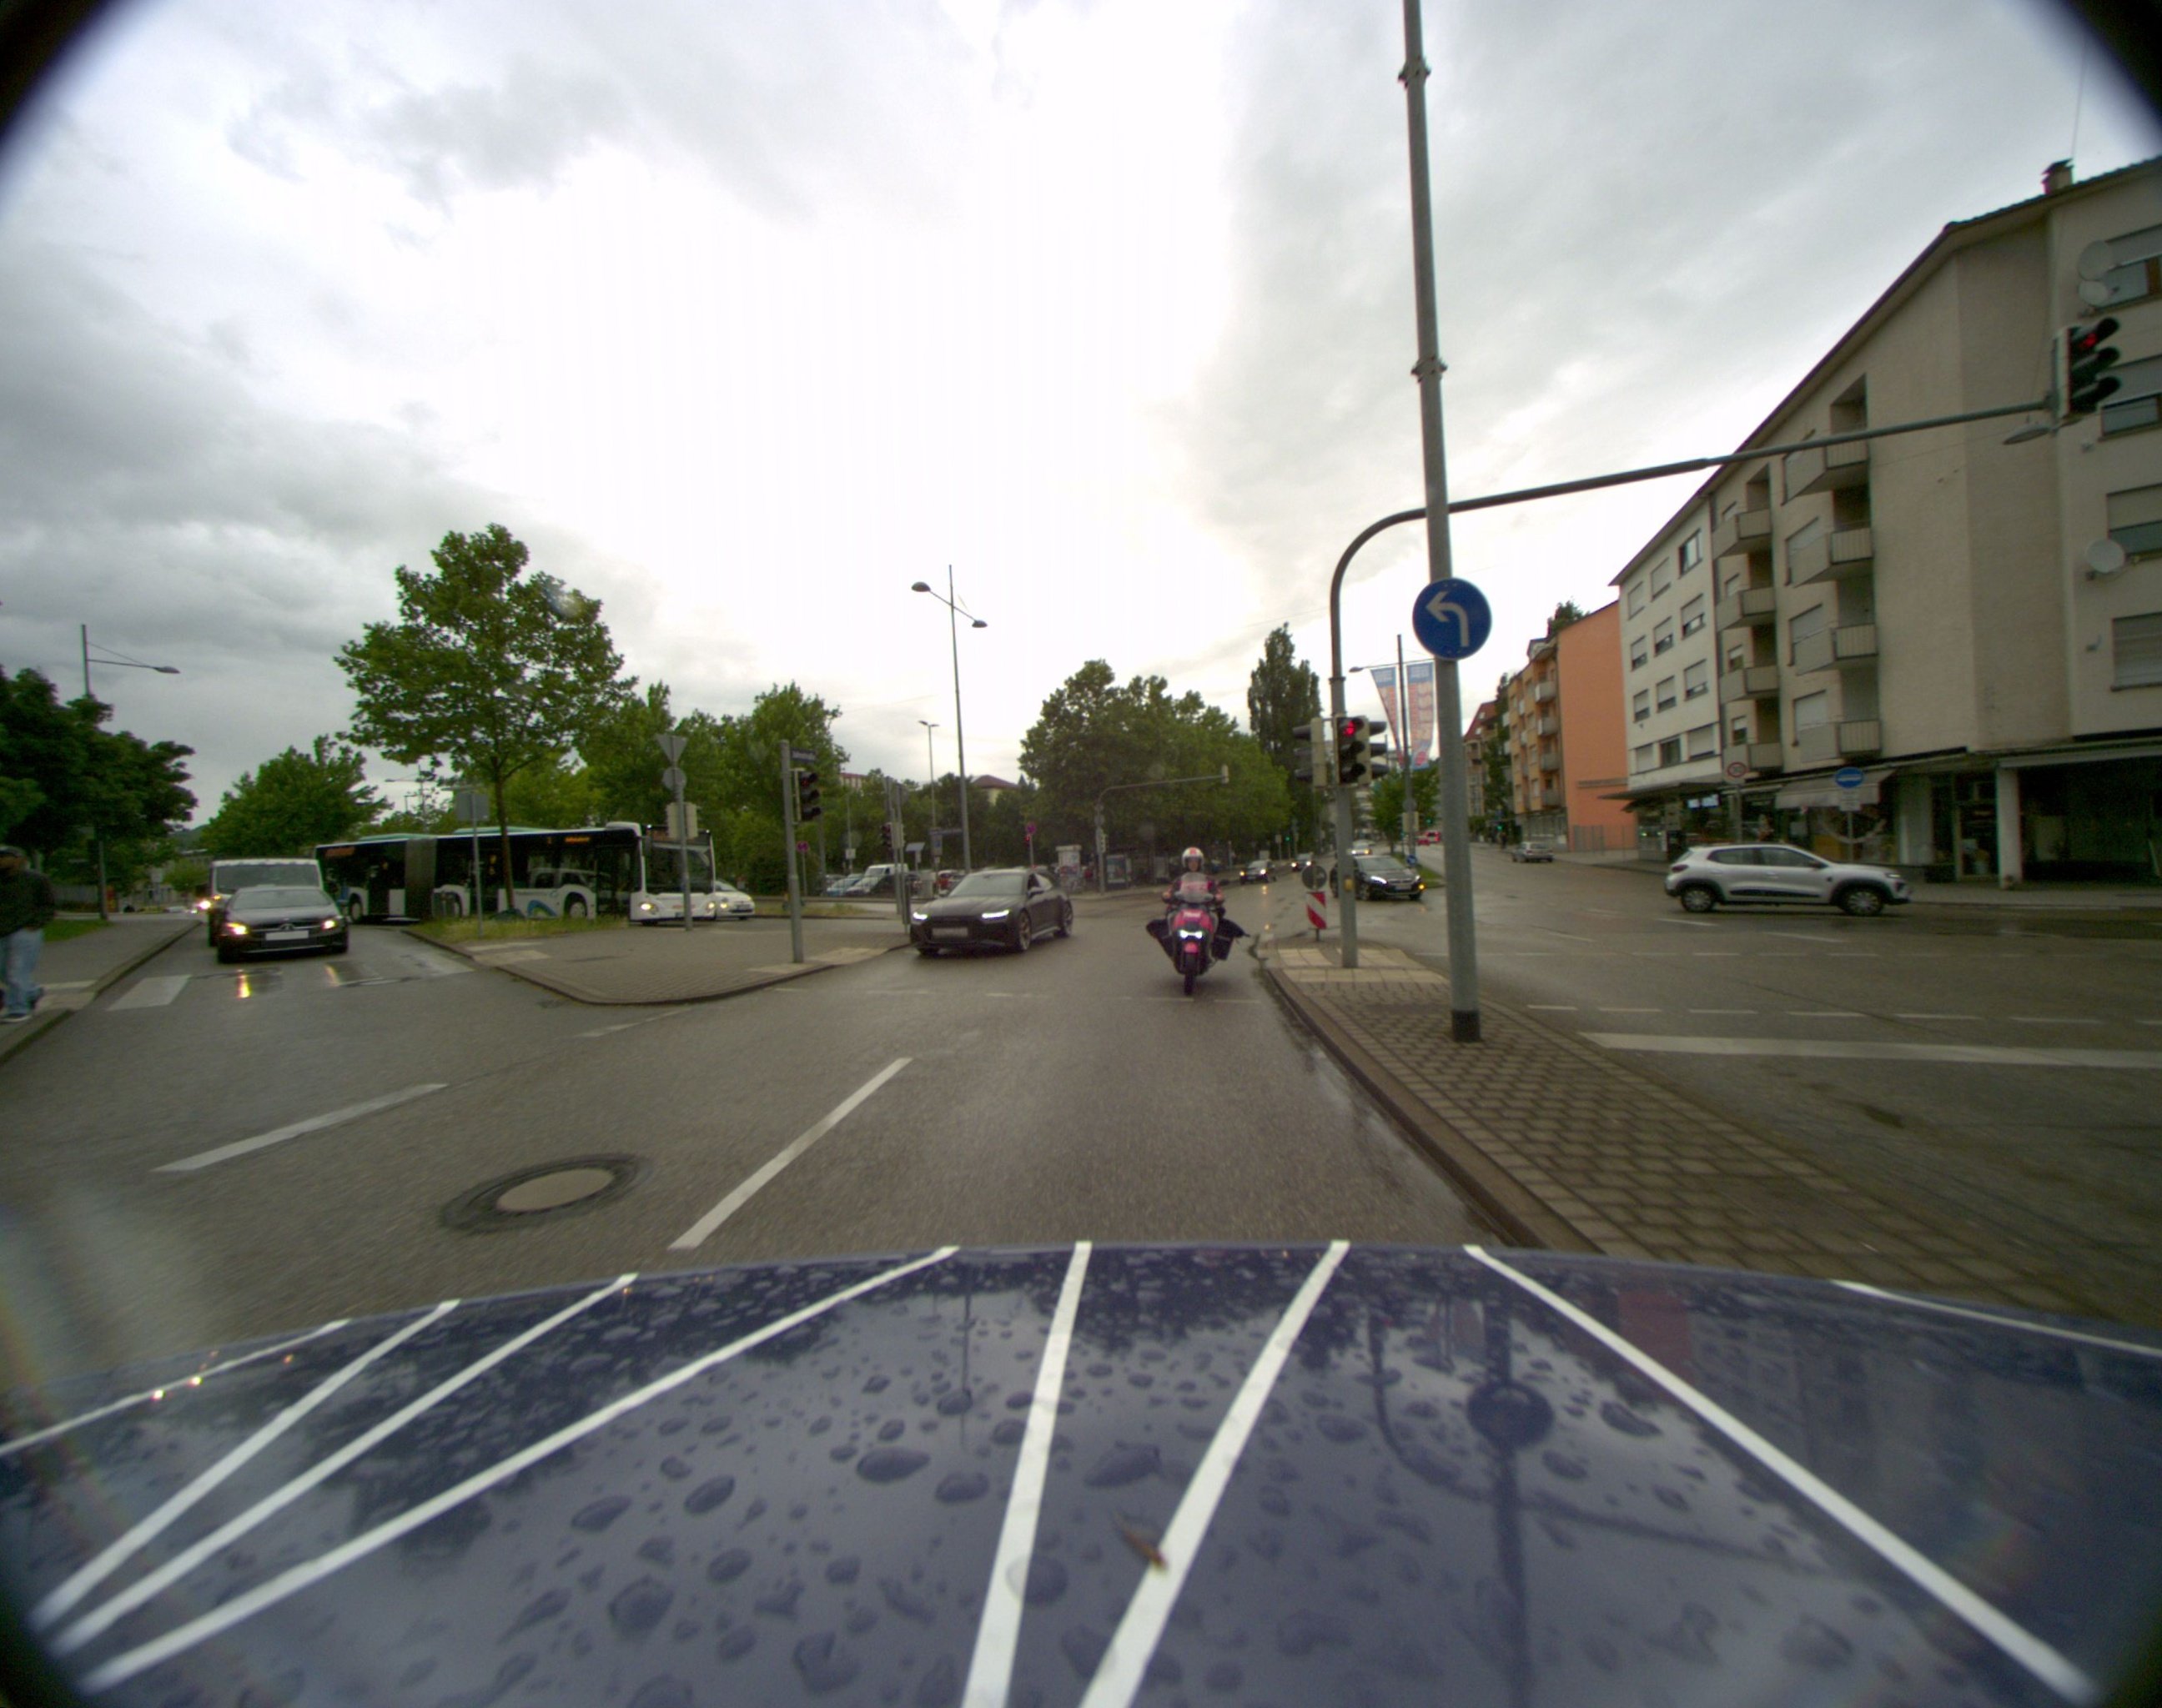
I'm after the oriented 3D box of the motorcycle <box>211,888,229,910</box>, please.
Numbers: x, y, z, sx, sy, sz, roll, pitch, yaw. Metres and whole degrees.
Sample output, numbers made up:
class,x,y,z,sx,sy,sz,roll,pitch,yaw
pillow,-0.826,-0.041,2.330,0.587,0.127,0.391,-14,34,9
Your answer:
class,x,y,z,sx,sy,sz,roll,pitch,yaw
motorcycle,-45.976,2.395,40.567,2.682,1.112,0.572,-2,0,40

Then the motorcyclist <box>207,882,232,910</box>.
class,x,y,z,sx,sy,sz,roll,pitch,yaw
motorcyclist,-45.862,2.230,40.443,1.237,1.429,0.808,-2,0,40

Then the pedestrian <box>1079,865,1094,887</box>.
class,x,y,z,sx,sy,sz,roll,pitch,yaw
pedestrian,0.385,1.661,56.968,0.766,1.623,0.862,-3,0,25

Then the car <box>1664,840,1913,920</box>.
class,x,y,z,sx,sy,sz,roll,pitch,yaw
car,14.561,0.548,15.840,3.620,1.453,1.545,-3,0,43

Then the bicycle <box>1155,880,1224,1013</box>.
class,x,y,z,sx,sy,sz,roll,pitch,yaw
bicycle,1.379,1.022,9.278,0.716,1.298,2.429,-1,1,11

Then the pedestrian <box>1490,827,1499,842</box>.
class,x,y,z,sx,sy,sz,roll,pitch,yaw
pedestrian,49.459,-2.324,90.891,0.765,1.685,0.801,-3,1,19

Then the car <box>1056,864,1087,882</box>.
class,x,y,z,sx,sy,sz,roll,pitch,yaw
car,-0.874,1.704,69.516,1.637,1.414,3.359,-4,1,21

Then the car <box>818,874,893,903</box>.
class,x,y,z,sx,sy,sz,roll,pitch,yaw
car,-12.991,1.954,44.006,1.853,1.432,4.269,-2,0,22

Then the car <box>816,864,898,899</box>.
class,x,y,z,sx,sy,sz,roll,pitch,yaw
car,-11.720,1.419,40.051,1.801,1.603,4.269,-2,0,22

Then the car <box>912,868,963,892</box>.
class,x,y,z,sx,sy,sz,roll,pitch,yaw
car,-10.566,1.906,56.328,1.759,1.581,4.006,-2,-1,22

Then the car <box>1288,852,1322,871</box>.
class,x,y,z,sx,sy,sz,roll,pitch,yaw
car,18.414,0.603,62.343,1.893,1.413,4.368,-1,0,27

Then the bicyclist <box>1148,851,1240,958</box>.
class,x,y,z,sx,sy,sz,roll,pitch,yaw
bicyclist,1.380,0.605,9.185,0.962,1.218,0.716,-3,-2,15

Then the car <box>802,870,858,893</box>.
class,x,y,z,sx,sy,sz,roll,pitch,yaw
car,-19.351,2.114,58.833,1.758,1.557,4.007,-2,-1,26

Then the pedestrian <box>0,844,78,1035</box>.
class,x,y,z,sx,sy,sz,roll,pitch,yaw
pedestrian,-11.646,0.904,8.269,0.589,2.002,0.785,-1,0,-29

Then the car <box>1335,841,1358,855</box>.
class,x,y,z,sx,sy,sz,roll,pitch,yaw
car,29.912,-0.725,85.574,1.893,1.479,4.368,-1,0,27

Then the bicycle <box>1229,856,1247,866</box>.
class,x,y,z,sx,sy,sz,roll,pitch,yaw
bicycle,18.903,0.861,91.468,1.931,1.088,0.650,-4,1,7

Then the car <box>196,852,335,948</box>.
class,x,y,z,sx,sy,sz,roll,pitch,yaw
car,-22.377,1.129,20.845,6.324,2.221,2.260,-1,1,42

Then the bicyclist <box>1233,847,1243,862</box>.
class,x,y,z,sx,sy,sz,roll,pitch,yaw
bicyclist,18.863,0.089,91.434,0.986,1.760,0.797,-3,1,7

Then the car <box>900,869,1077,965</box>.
class,x,y,z,sx,sy,sz,roll,pitch,yaw
car,-1.539,1.090,14.527,1.894,1.396,4.365,-3,0,13

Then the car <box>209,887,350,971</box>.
class,x,y,z,sx,sy,sz,roll,pitch,yaw
car,-16.674,1.449,15.816,4.085,1.366,1.799,-1,1,42

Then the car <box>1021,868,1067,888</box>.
class,x,y,z,sx,sy,sz,roll,pitch,yaw
car,-2.788,1.814,58.207,1.735,1.431,4.451,-2,-1,22

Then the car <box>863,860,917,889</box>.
class,x,y,z,sx,sy,sz,roll,pitch,yaw
car,-16.336,1.746,65.194,1.969,2.306,5.020,-2,-1,19

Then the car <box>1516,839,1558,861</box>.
class,x,y,z,sx,sy,sz,roll,pitch,yaw
car,31.193,-0.288,52.061,1.678,1.384,4.157,-1,1,19

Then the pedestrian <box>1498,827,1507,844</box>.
class,x,y,z,sx,sy,sz,roll,pitch,yaw
pedestrian,48.263,-2.138,86.958,0.745,1.876,0.801,-3,1,19

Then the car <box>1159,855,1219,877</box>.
class,x,y,z,sx,sy,sz,roll,pitch,yaw
car,9.417,1.060,66.390,4.743,1.397,1.865,-6,0,26

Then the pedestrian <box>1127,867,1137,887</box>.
class,x,y,z,sx,sy,sz,roll,pitch,yaw
pedestrian,3.344,1.530,49.939,0.499,1.263,0.402,-3,0,25

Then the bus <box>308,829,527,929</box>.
class,x,y,z,sx,sy,sz,roll,pitch,yaw
bus,-23.719,0.786,27.074,8.538,3.162,2.693,0,0,25

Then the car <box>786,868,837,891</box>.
class,x,y,z,sx,sy,sz,roll,pitch,yaw
car,-23.561,2.196,66.557,1.830,1.819,4.371,-2,-1,21

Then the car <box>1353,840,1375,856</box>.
class,x,y,z,sx,sy,sz,roll,pitch,yaw
car,28.207,-0.592,75.627,1.893,1.567,4.367,-1,0,22

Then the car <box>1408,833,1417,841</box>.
class,x,y,z,sx,sy,sz,roll,pitch,yaw
car,67.766,-3.486,155.300,1.568,1.385,3.839,-1,1,21

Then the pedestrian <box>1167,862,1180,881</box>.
class,x,y,z,sx,sy,sz,roll,pitch,yaw
pedestrian,7.010,1.332,57.481,0.632,1.314,0.627,-4,1,37

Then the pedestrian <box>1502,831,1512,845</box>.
class,x,y,z,sx,sy,sz,roll,pitch,yaw
pedestrian,44.572,-1.699,79.581,0.560,1.432,0.609,-6,-1,3

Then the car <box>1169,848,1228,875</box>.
class,x,y,z,sx,sy,sz,roll,pitch,yaw
car,10.818,0.670,70.024,4.841,1.931,1.953,-6,0,26

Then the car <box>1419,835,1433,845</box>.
class,x,y,z,sx,sy,sz,roll,pitch,yaw
car,54.035,-2.193,119.057,1.605,1.422,3.950,0,2,20

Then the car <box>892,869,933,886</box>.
class,x,y,z,sx,sy,sz,roll,pitch,yaw
car,-13.958,1.937,63.147,1.529,1.229,3.639,-2,-1,22

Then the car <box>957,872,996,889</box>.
class,x,y,z,sx,sy,sz,roll,pitch,yaw
car,-8.296,2.121,60.499,1.529,1.229,3.361,-2,-1,22

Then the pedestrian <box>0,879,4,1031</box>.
class,x,y,z,sx,sy,sz,roll,pitch,yaw
pedestrian,-12.283,1.128,8.185,0.558,1.696,0.528,-1,0,-15

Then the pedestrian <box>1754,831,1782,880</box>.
class,x,y,z,sx,sy,sz,roll,pitch,yaw
pedestrian,24.760,0.039,27.399,0.452,1.720,0.525,-7,-1,25

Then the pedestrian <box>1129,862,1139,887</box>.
class,x,y,z,sx,sy,sz,roll,pitch,yaw
pedestrian,3.543,1.373,50.739,0.540,1.685,0.555,-3,0,9

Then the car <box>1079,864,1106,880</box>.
class,x,y,z,sx,sy,sz,roll,pitch,yaw
car,1.132,1.730,74.641,1.529,1.419,3.842,-2,-1,18

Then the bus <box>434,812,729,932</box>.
class,x,y,z,sx,sy,sz,roll,pitch,yaw
bus,-15.481,0.568,23.339,9.635,3.198,2.709,-1,0,24

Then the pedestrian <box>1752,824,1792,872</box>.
class,x,y,z,sx,sy,sz,roll,pitch,yaw
pedestrian,25.949,-0.223,28.536,0.778,1.719,0.661,-7,-1,24

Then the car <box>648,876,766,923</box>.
class,x,y,z,sx,sy,sz,roll,pitch,yaw
car,-12.655,1.544,25.714,3.561,1.442,1.593,-3,-1,23

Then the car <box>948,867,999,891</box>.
class,x,y,z,sx,sy,sz,roll,pitch,yaw
car,-7.737,1.803,55.253,1.759,1.581,4.183,-2,-1,22

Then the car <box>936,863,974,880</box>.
class,x,y,z,sx,sy,sz,roll,pitch,yaw
car,-13.435,1.883,81.200,1.969,1.660,4.637,-2,-1,19

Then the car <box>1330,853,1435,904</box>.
class,x,y,z,sx,sy,sz,roll,pitch,yaw
car,9.963,0.743,25.480,1.803,1.425,4.397,-4,0,2

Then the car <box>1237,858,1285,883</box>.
class,x,y,z,sx,sy,sz,roll,pitch,yaw
car,11.253,0.982,47.349,1.893,1.391,4.368,-1,0,27

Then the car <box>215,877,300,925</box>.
class,x,y,z,sx,sy,sz,roll,pitch,yaw
car,-32.302,1.796,29.762,4.862,1.643,2.004,-2,0,40
